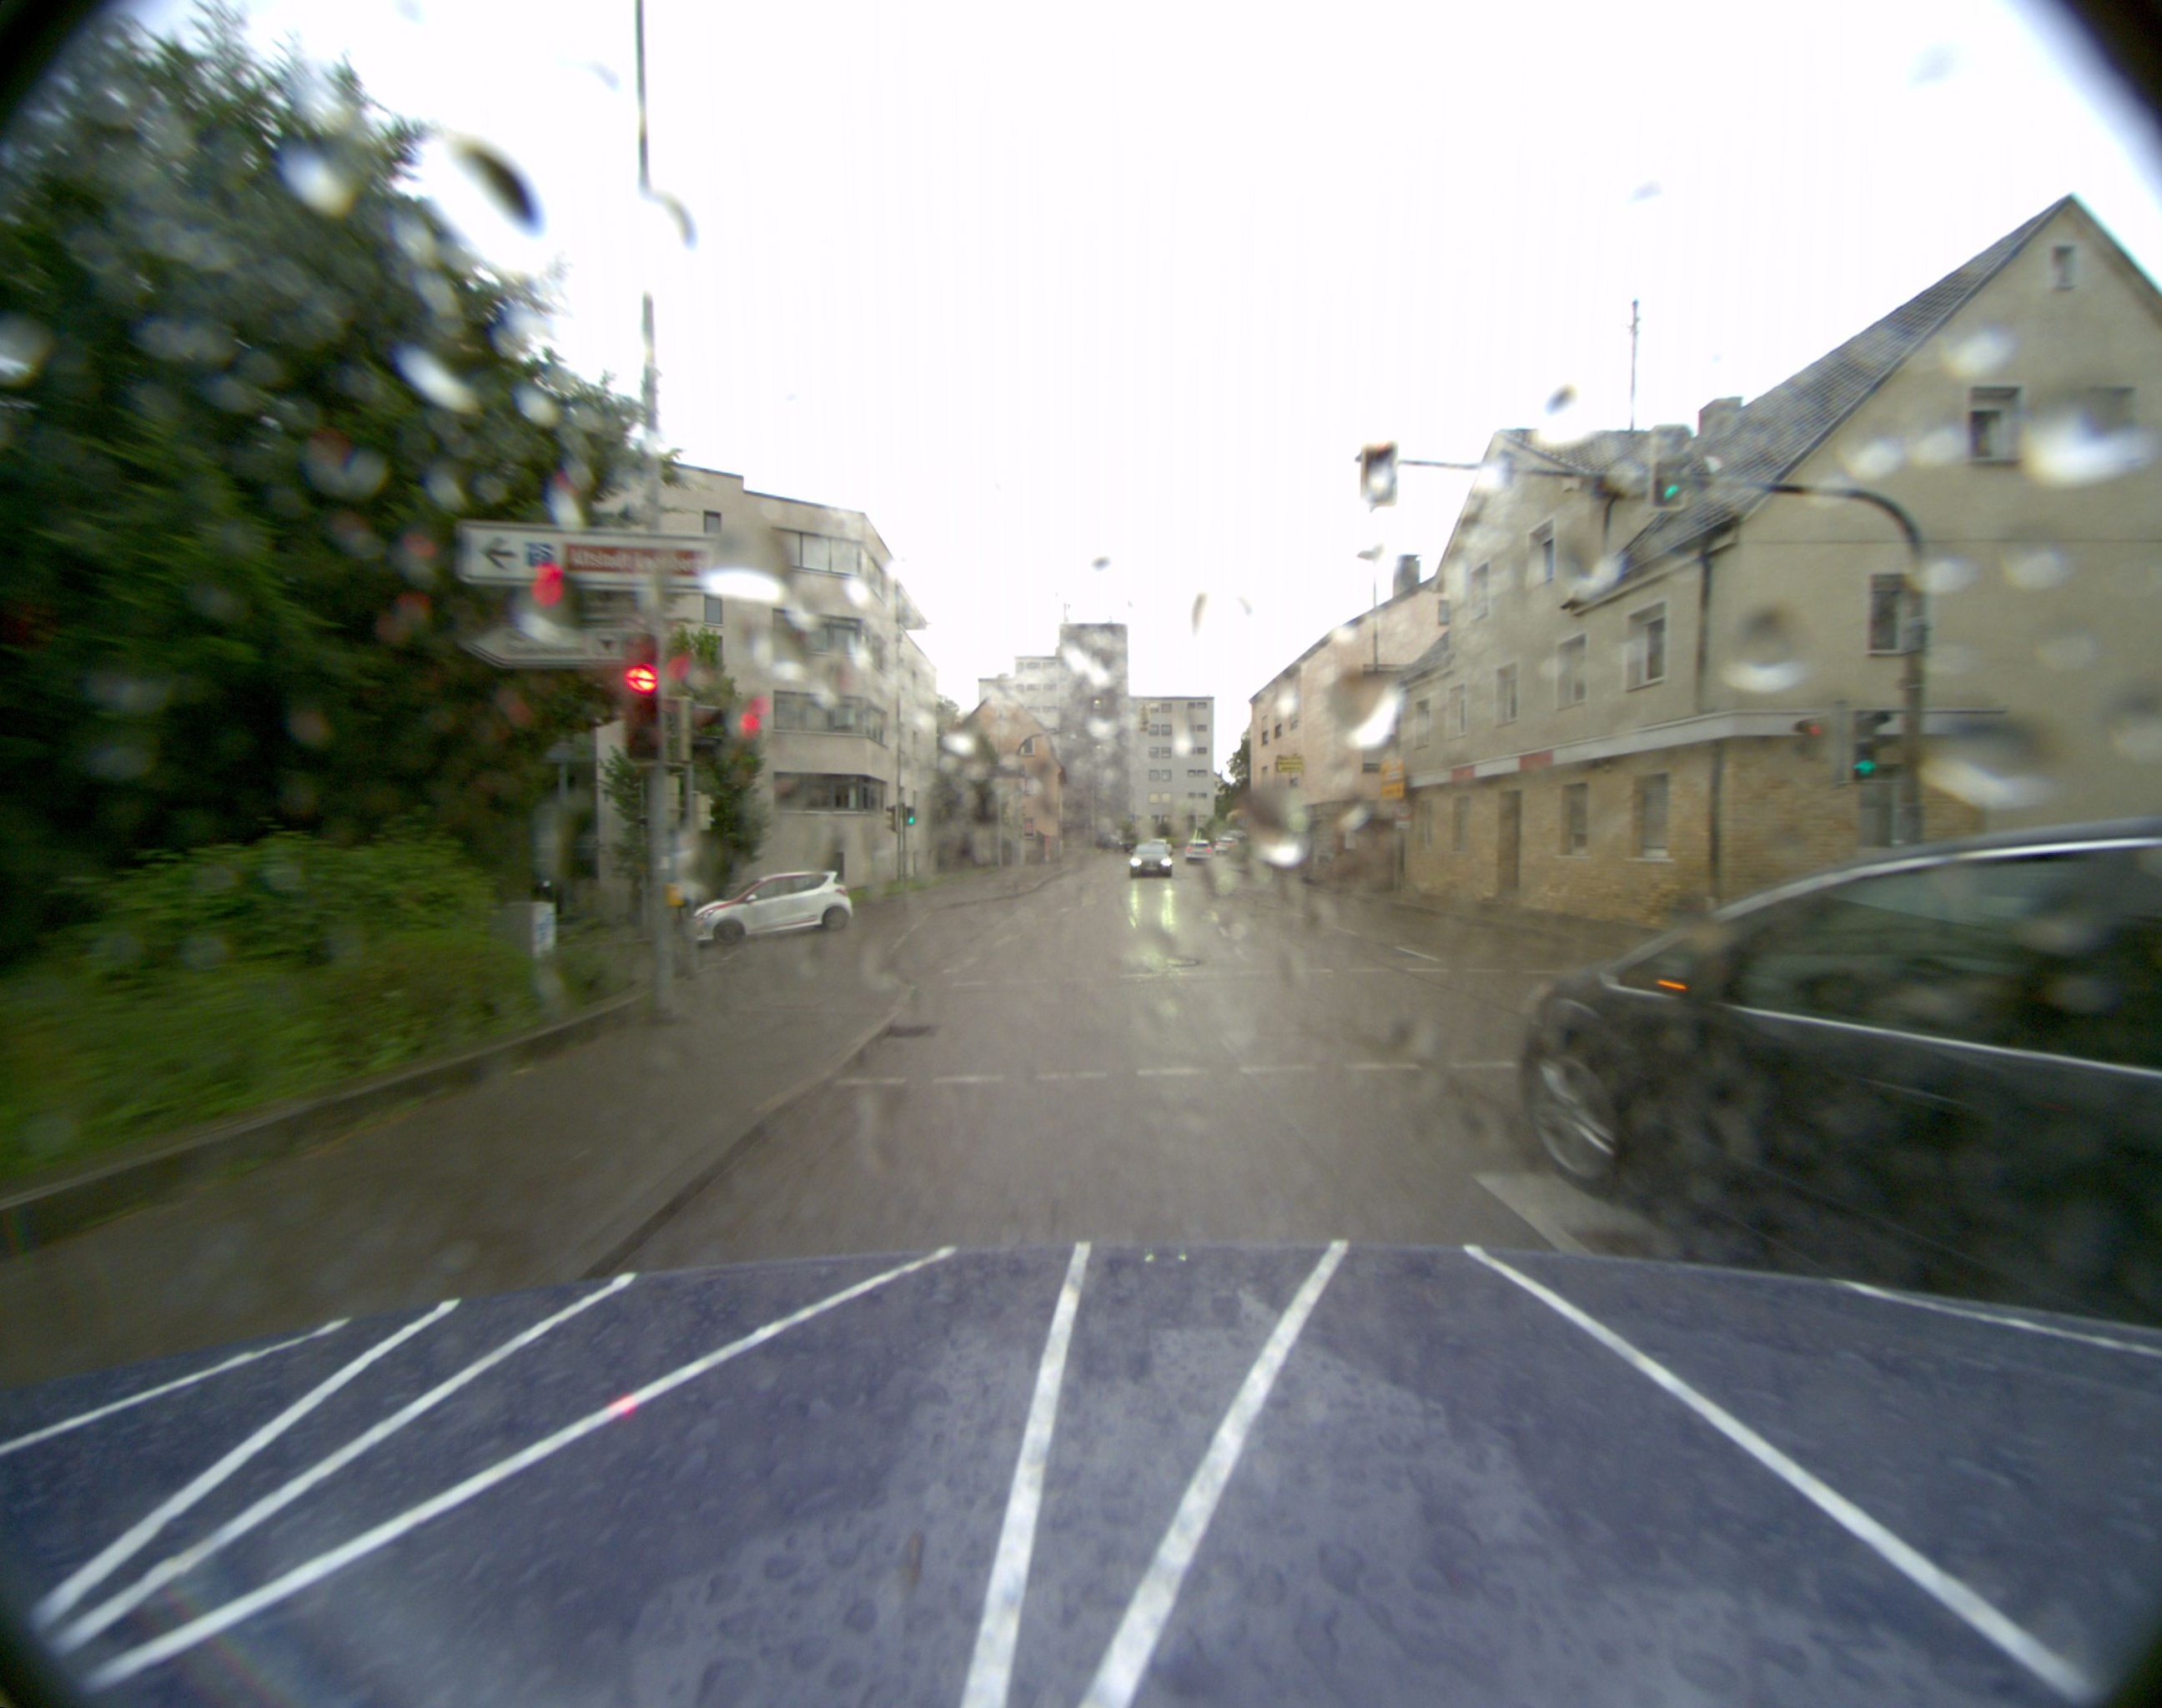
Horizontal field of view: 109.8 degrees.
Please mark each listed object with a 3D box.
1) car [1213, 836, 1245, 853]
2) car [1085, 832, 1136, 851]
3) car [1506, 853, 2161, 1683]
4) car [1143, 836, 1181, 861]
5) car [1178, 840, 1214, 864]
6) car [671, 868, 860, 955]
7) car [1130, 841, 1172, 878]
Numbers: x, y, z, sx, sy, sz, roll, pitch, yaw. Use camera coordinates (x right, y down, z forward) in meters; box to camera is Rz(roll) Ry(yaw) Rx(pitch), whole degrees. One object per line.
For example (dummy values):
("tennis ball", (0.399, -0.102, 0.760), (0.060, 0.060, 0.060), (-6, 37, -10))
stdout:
("car", (13.412, -0.840, 68.699), (1.691, 1.365, 4.121), (2, 1, 27))
("car", (2.759, -1.176, 70.996), (4.406, 1.565, 1.721), (3, 5, 28))
("car", (2.966, 0.808, 1.471), (1.789, 1.554, 4.401), (-1, 1, -1))
("car", (6.521, -0.418, 61.053), (1.897, 1.649, 4.953), (3, -1, 19))
("car", (7.956, -0.156, 52.753), (1.789, 1.551, 4.336), (1, 1, -1))
("car", (-7.487, 1.278, 18.145), (3.768, 1.445, 1.708), (-7, 4, -33))
("car", (3.312, 0.204, 35.760), (1.837, 1.505, 4.848), (0, 2, 6))
